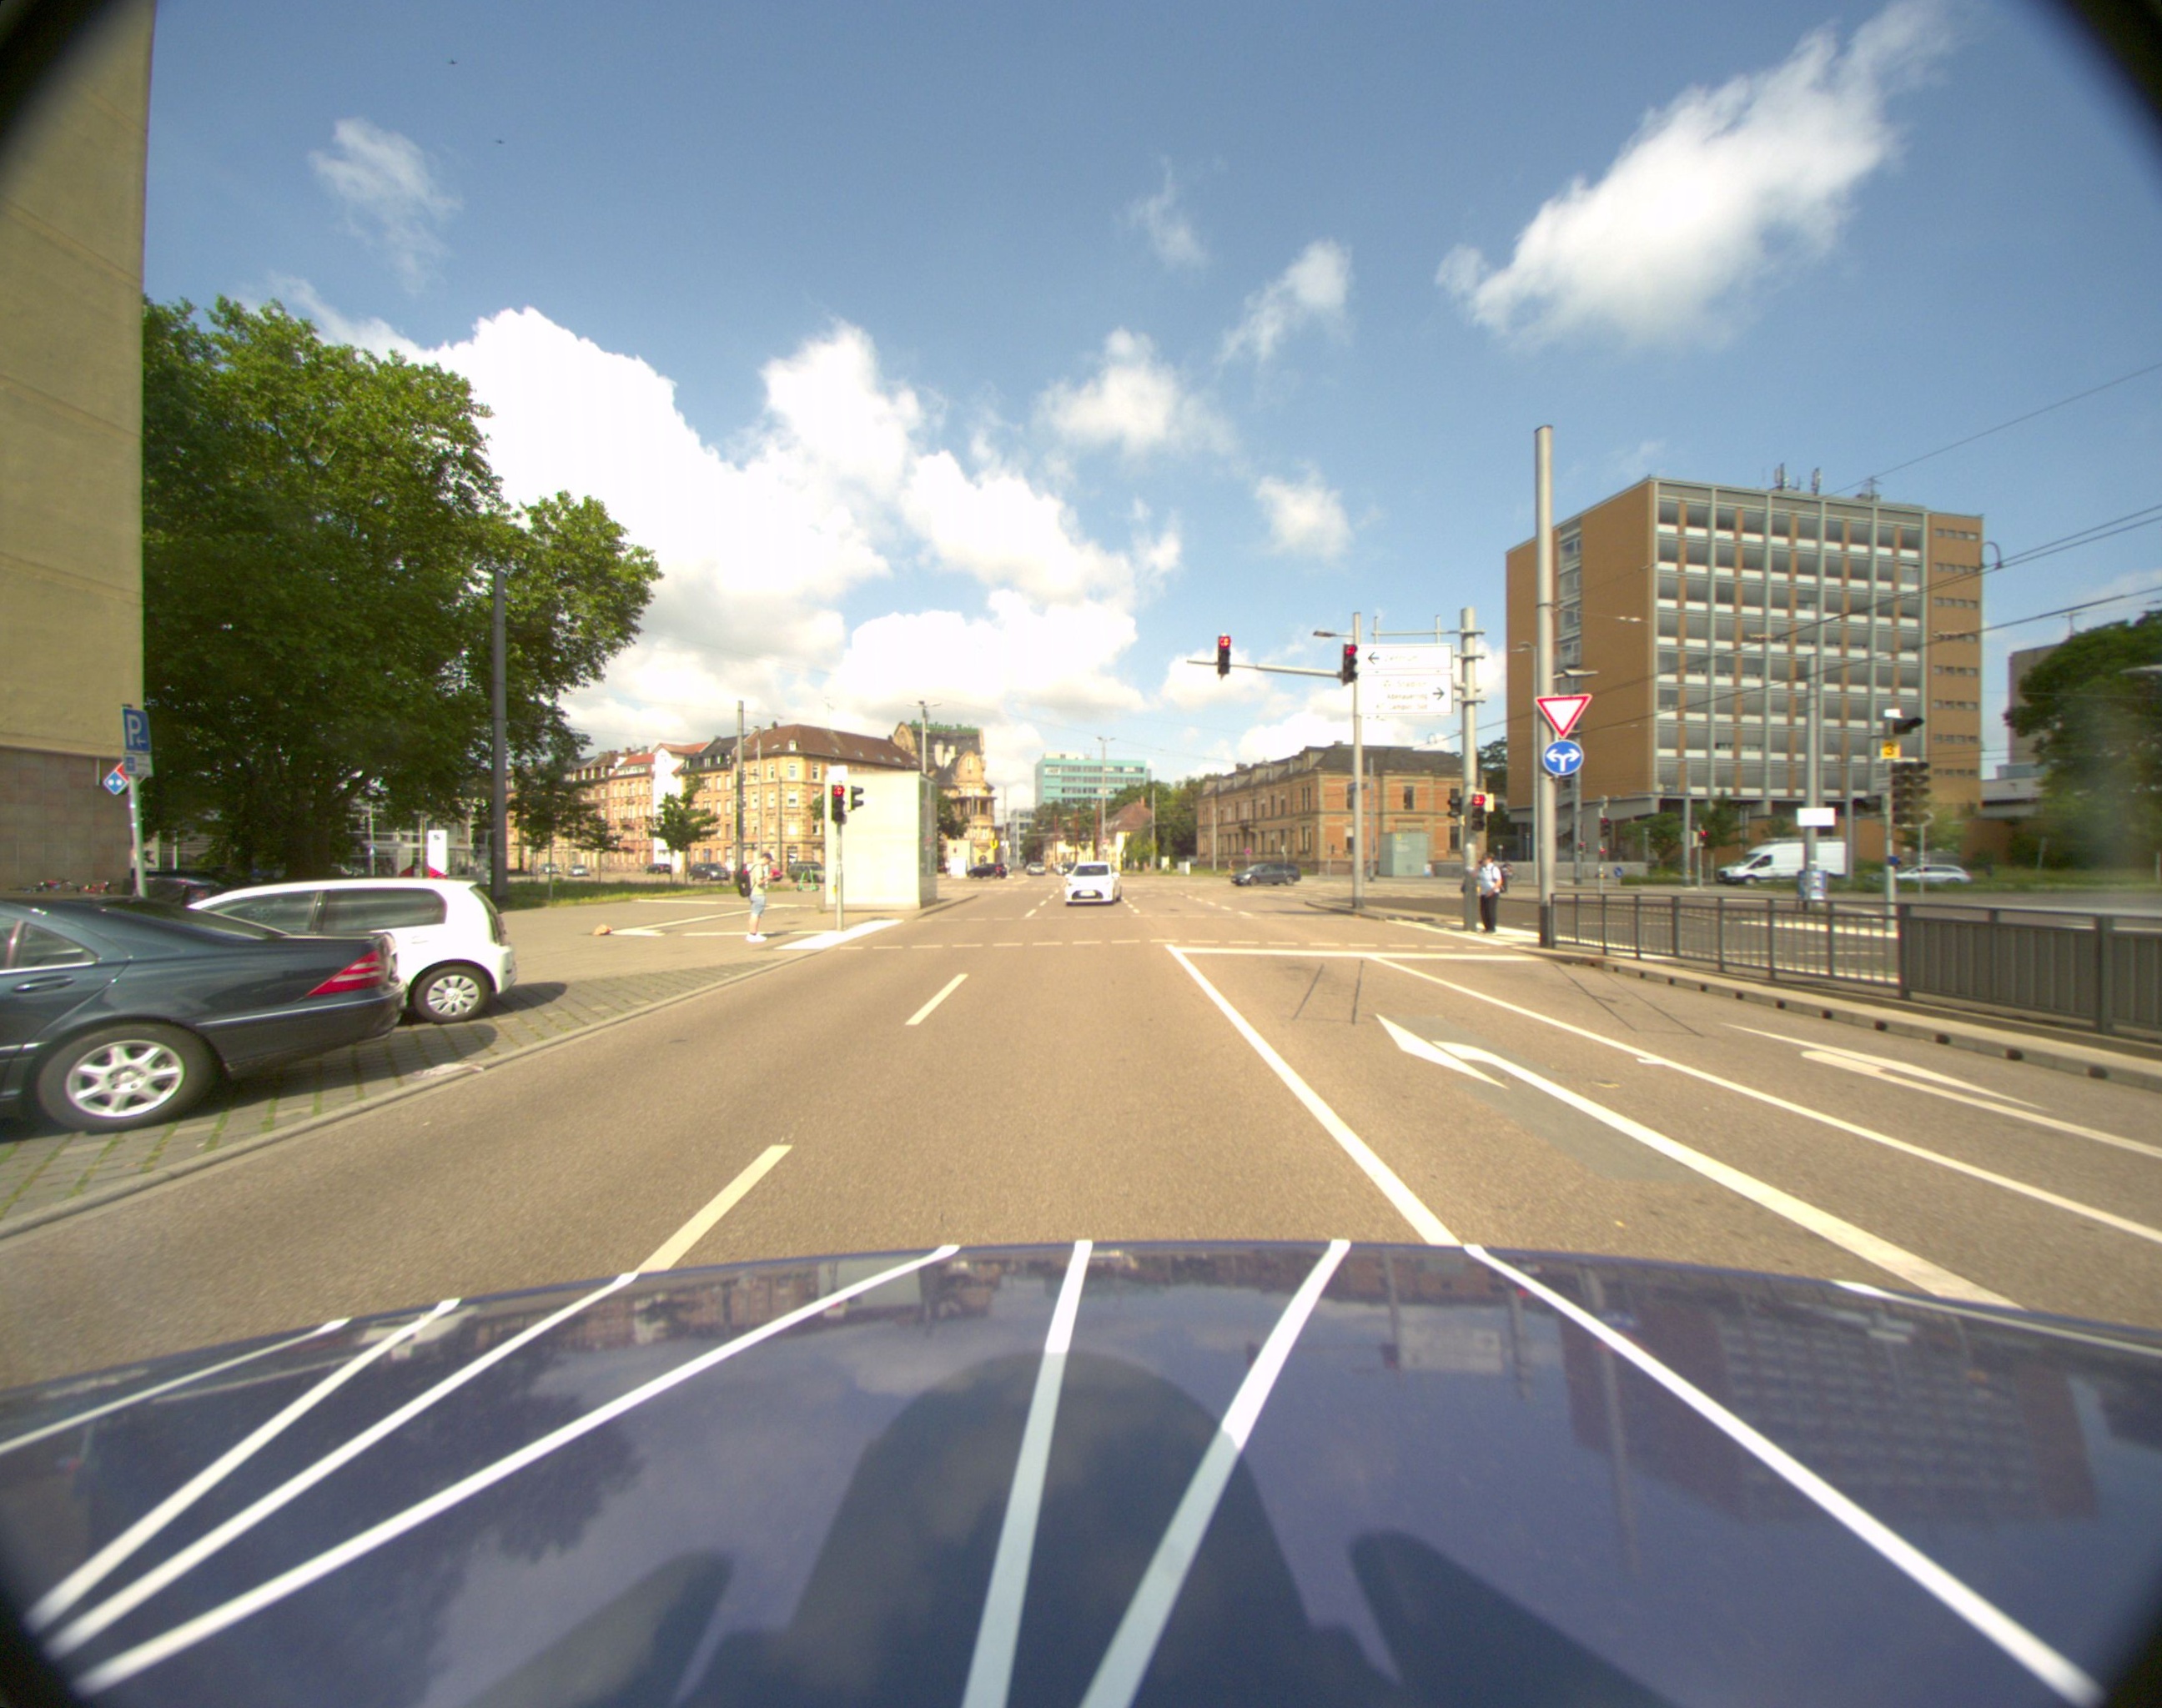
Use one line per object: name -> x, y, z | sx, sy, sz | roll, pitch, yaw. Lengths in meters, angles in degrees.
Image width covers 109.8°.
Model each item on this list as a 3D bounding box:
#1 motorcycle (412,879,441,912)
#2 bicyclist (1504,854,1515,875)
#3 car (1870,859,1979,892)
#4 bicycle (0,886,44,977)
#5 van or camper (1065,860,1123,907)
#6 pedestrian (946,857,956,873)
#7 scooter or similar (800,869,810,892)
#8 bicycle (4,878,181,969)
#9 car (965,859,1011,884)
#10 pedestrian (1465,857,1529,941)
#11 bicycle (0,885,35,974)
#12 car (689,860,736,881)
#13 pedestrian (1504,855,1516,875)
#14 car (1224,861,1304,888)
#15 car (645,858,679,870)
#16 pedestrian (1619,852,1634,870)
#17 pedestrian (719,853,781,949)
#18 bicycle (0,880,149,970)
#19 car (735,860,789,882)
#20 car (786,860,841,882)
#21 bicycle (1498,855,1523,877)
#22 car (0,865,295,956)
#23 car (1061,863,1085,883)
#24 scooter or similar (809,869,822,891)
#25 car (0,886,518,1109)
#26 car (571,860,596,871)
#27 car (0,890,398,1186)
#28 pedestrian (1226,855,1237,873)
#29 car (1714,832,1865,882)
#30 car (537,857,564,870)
motorcycle -> -20.669, 1.294, 23.988 | 0.606, 0.898, 1.889 | -4, 3, -42
bicyclist -> 34.057, 0.843, 60.344 | 0.654, 1.661, 0.575 | 0, 1, 40
car -> 53.104, 1.356, 47.913 | 4.133, 1.763, 2.000 | -1, 5, 13
bicycle -> -15.459, 1.112, 10.259 | 0.488, 1.265, 1.888 | 0, 1, -7
van or camper -> 0.519, 0.969, 26.590 | 1.626, 1.467, 4.002 | 0, 0, 7
pedestrian -> -13.561, 1.135, 79.275 | 0.706, 1.632, 0.798 | 0, 1, 44
scooter or similar -> -14.670, 1.395, 40.371 | 0.382, 1.151, 0.927 | -1, 2, -26
bicycle -> -15.526, 1.049, 12.004 | 0.531, 1.265, 1.646 | 0, 1, 5
car -> -8.675, 1.602, 71.070 | 3.997, 2.003, 1.998 | -2, 5, 0
pedestrian -> 8.577, 0.912, 15.708 | 0.844, 1.664, 0.795 | 0, 1, -1
bicycle -> -16.006, 1.111, 10.581 | 0.487, 1.265, 1.646 | 0, 1, 5
car -> -31.844, 1.380, 65.630 | 3.988, 1.544, 2.003 | 1, 5, 36
pedestrian -> 35.151, 0.922, 62.212 | 0.763, 1.579, 0.774 | 1, 2, 26
car -> 11.626, 1.269, 48.237 | 4.548, 1.274, 1.995 | -4, 5, -20
car -> -54.740, 1.356, 99.201 | 4.244, 1.519, 1.776 | 0, 0, 27
pedestrian -> 47.188, 0.615, 65.746 | 0.766, 1.579, 0.936 | -1, 1, -43
pedestrian -> -6.528, 0.904, 15.021 | 0.996, 1.750, 0.784 | -3, 5, -23
bicycle -> -16.064, 1.071, 12.021 | 0.487, 1.265, 1.646 | 0, 1, 5
car -> -25.597, 1.332, 60.950 | 3.988, 1.511, 2.003 | 0, 5, 33
car -> -20.457, 1.271, 58.095 | 3.988, 1.505, 1.829 | 0, 5, 33
bicycle -> 34.104, 0.951, 60.309 | 1.632, 1.767, 0.733 | 0, 1, 40
car -> -21.918, 1.219, 17.961 | 1.999, 1.576, 4.389 | -2, 3, 0
car -> -0.940, 2.135, 85.873 | 2.000, 1.730, 4.334 | -3, 4, -9
scooter or similar -> -14.244, 1.378, 40.781 | 0.382, 1.151, 0.927 | -1, 2, -38
car -> -7.641, 1.156, 7.222 | 3.518, 1.432, 1.715 | -3, 2, -40
car -> -59.209, 1.366, 90.387 | 2.004, 1.324, 3.989 | 0, 0, -39
car -> -7.226, 1.088, 4.194 | 5.074, 1.460, 1.885 | -1, 1, -41
pedestrian -> 14.610, 0.962, 73.683 | 0.784, 1.726, 0.858 | 0, 0, -13
car -> 42.282, 0.206, 45.549 | 6.137, 2.862, 2.489 | 0, 0, 15
car -> -72.802, 1.316, 104.206 | 3.988, 1.696, 1.790 | 0, 0, 35
